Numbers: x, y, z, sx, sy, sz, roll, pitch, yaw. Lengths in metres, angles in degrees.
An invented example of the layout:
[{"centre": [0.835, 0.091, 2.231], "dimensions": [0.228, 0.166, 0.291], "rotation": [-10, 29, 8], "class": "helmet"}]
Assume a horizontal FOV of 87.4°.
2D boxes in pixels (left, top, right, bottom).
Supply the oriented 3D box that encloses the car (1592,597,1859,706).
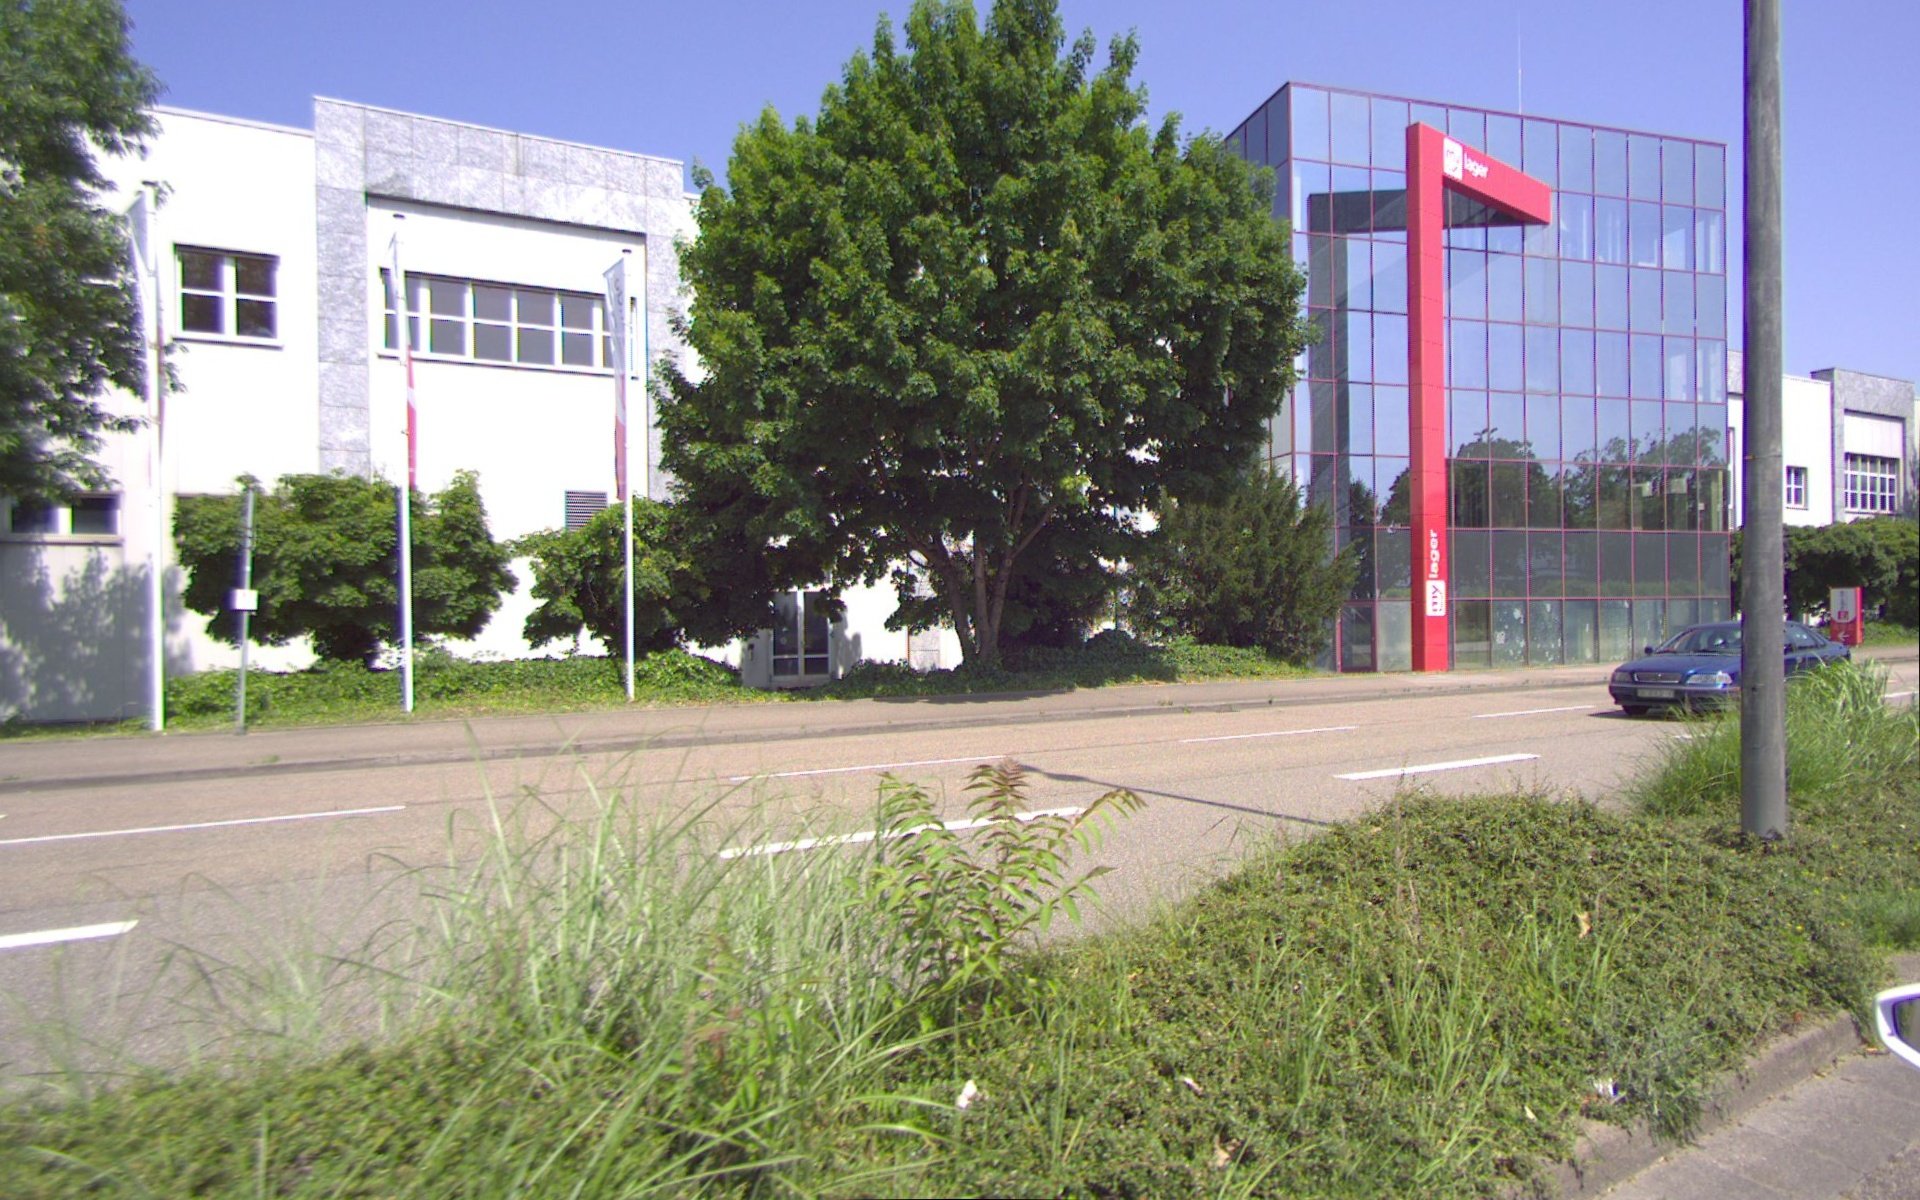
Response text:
[{"centre": [11.696, 0.732, 15.295], "dimensions": [4.196, 1.435, 1.714], "rotation": [-1, -3, -30], "class": "car"}]
